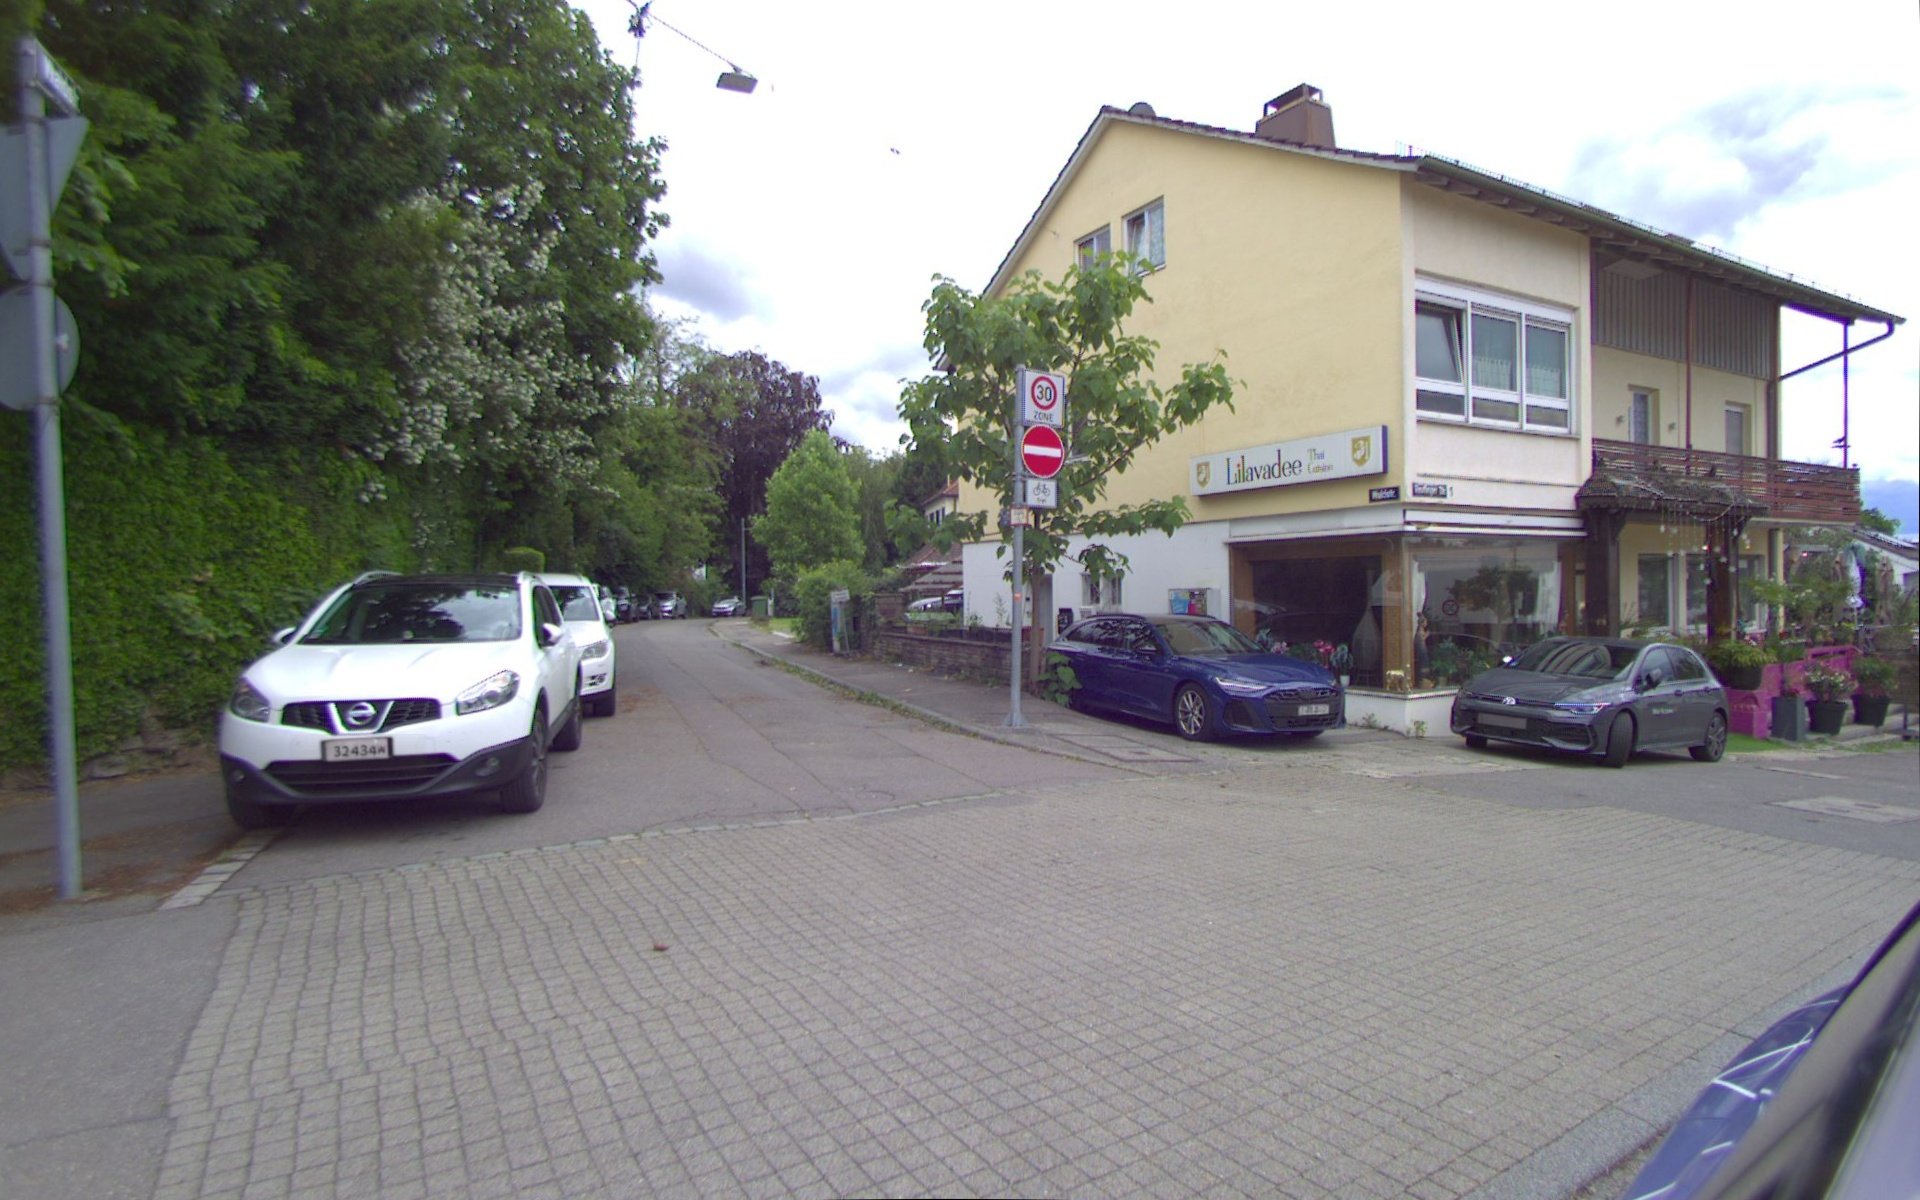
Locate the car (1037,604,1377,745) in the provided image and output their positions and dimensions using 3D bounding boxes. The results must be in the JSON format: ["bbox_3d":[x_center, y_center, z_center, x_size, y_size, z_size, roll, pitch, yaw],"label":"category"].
[{"bbox_3d":[2.916,0.826,13.211,1.761,1.405,4.758,2,0,-23],"label":"car"}]

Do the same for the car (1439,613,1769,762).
[{"bbox_3d":[7.945,1.063,12.372,4.242,1.480,1.800,5,-2,-34],"label":"car"}]

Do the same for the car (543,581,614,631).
[{"bbox_3d":[-12.216,0.133,32.592,1.542,1.502,3.745,-1,1,-11],"label":"car"}]

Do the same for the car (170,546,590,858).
[{"bbox_3d":[-3.865,0.506,7.554,1.761,1.643,4.144,-1,1,-16],"label":"car"}]

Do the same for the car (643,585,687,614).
[{"bbox_3d":[-16.240,-0.050,55.794,1.543,1.502,3.476,0,1,-3],"label":"car"}]

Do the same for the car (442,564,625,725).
[{"bbox_3d":[-5.175,0.431,12.609,1.761,1.643,4.080,-1,1,-20],"label":"car"}]

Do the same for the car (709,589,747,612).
[{"bbox_3d":[-16.348,0.017,71.457,1.547,1.502,3.468,0,1,7],"label":"car"}]

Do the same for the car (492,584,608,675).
[{"bbox_3d":[-7.441,0.450,18.616,1.761,1.441,4.080,-1,1,-20],"label":"car"}]

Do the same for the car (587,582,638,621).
[{"bbox_3d":[-14.206,0.038,41.525,1.542,1.502,3.481,-1,1,-11],"label":"car"}]

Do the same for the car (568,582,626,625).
[{"bbox_3d":[-13.422,0.097,37.545,1.542,1.502,3.481,-1,1,-11],"label":"car"}]

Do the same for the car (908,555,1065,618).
[{"bbox_3d":[0.788,-0.375,30.187,4.235,1.480,1.802,4,-2,-19],"label":"car"}]

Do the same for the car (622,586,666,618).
[{"bbox_3d":[-15.916,0.066,51.112,1.542,1.502,3.479,-1,1,-8],"label":"car"}]
